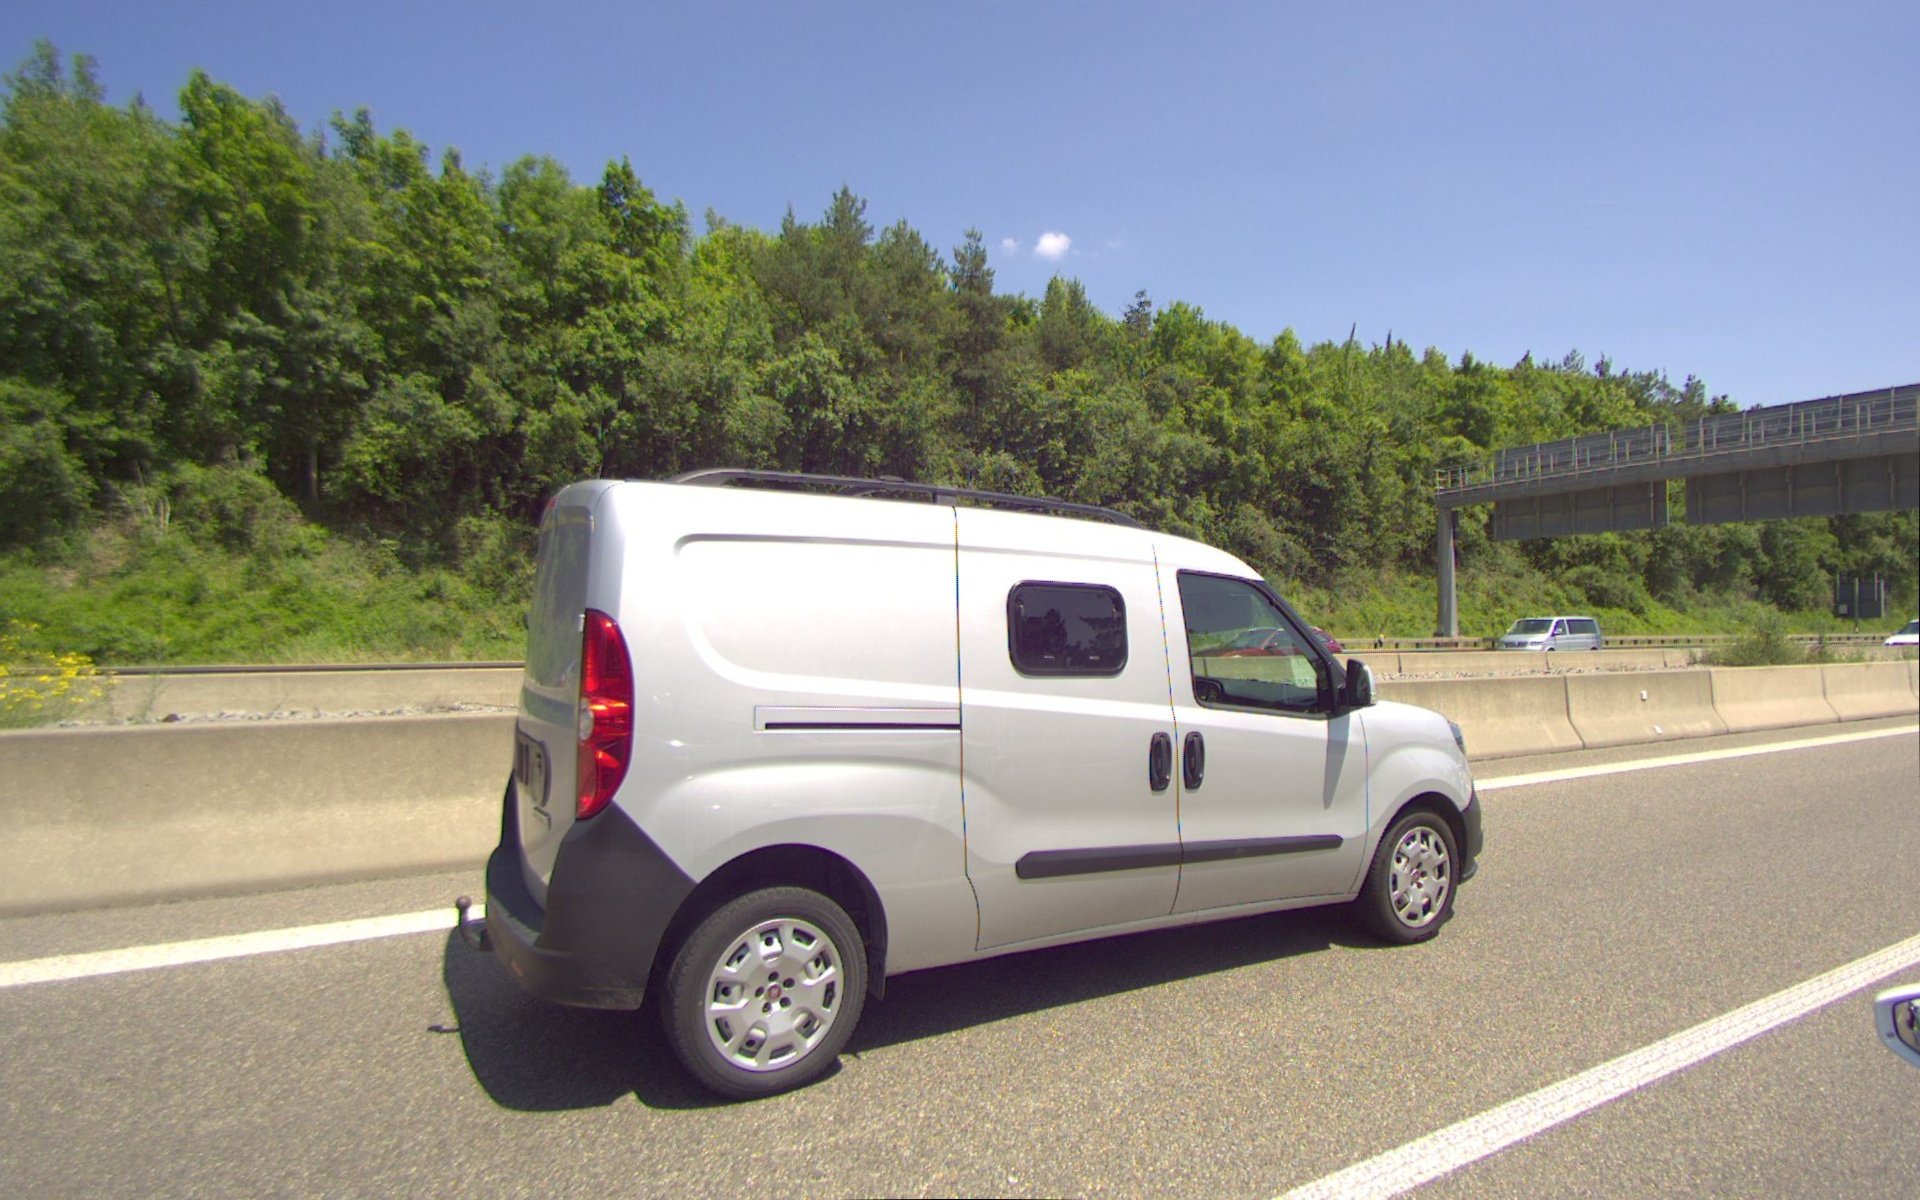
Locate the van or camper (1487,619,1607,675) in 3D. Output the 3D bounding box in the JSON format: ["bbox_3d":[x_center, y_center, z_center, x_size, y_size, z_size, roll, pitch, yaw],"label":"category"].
[{"bbox_3d":[22.841,1.841,39.066,4.625,2.040,1.984,2,-1,-30],"label":"van or camper"}]

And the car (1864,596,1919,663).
[{"bbox_3d":[30.749,0.983,31.859,4.146,2.040,1.983,2,-1,-31],"label":"car"}]

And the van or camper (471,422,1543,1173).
[{"bbox_3d":[0.380,0.527,4.482,4.507,1.905,1.844,1,0,-30],"label":"van or camper"}]

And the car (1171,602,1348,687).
[{"bbox_3d":[7.735,1.144,25.903,4.232,2.040,1.984,2,-1,-30],"label":"car"}]
